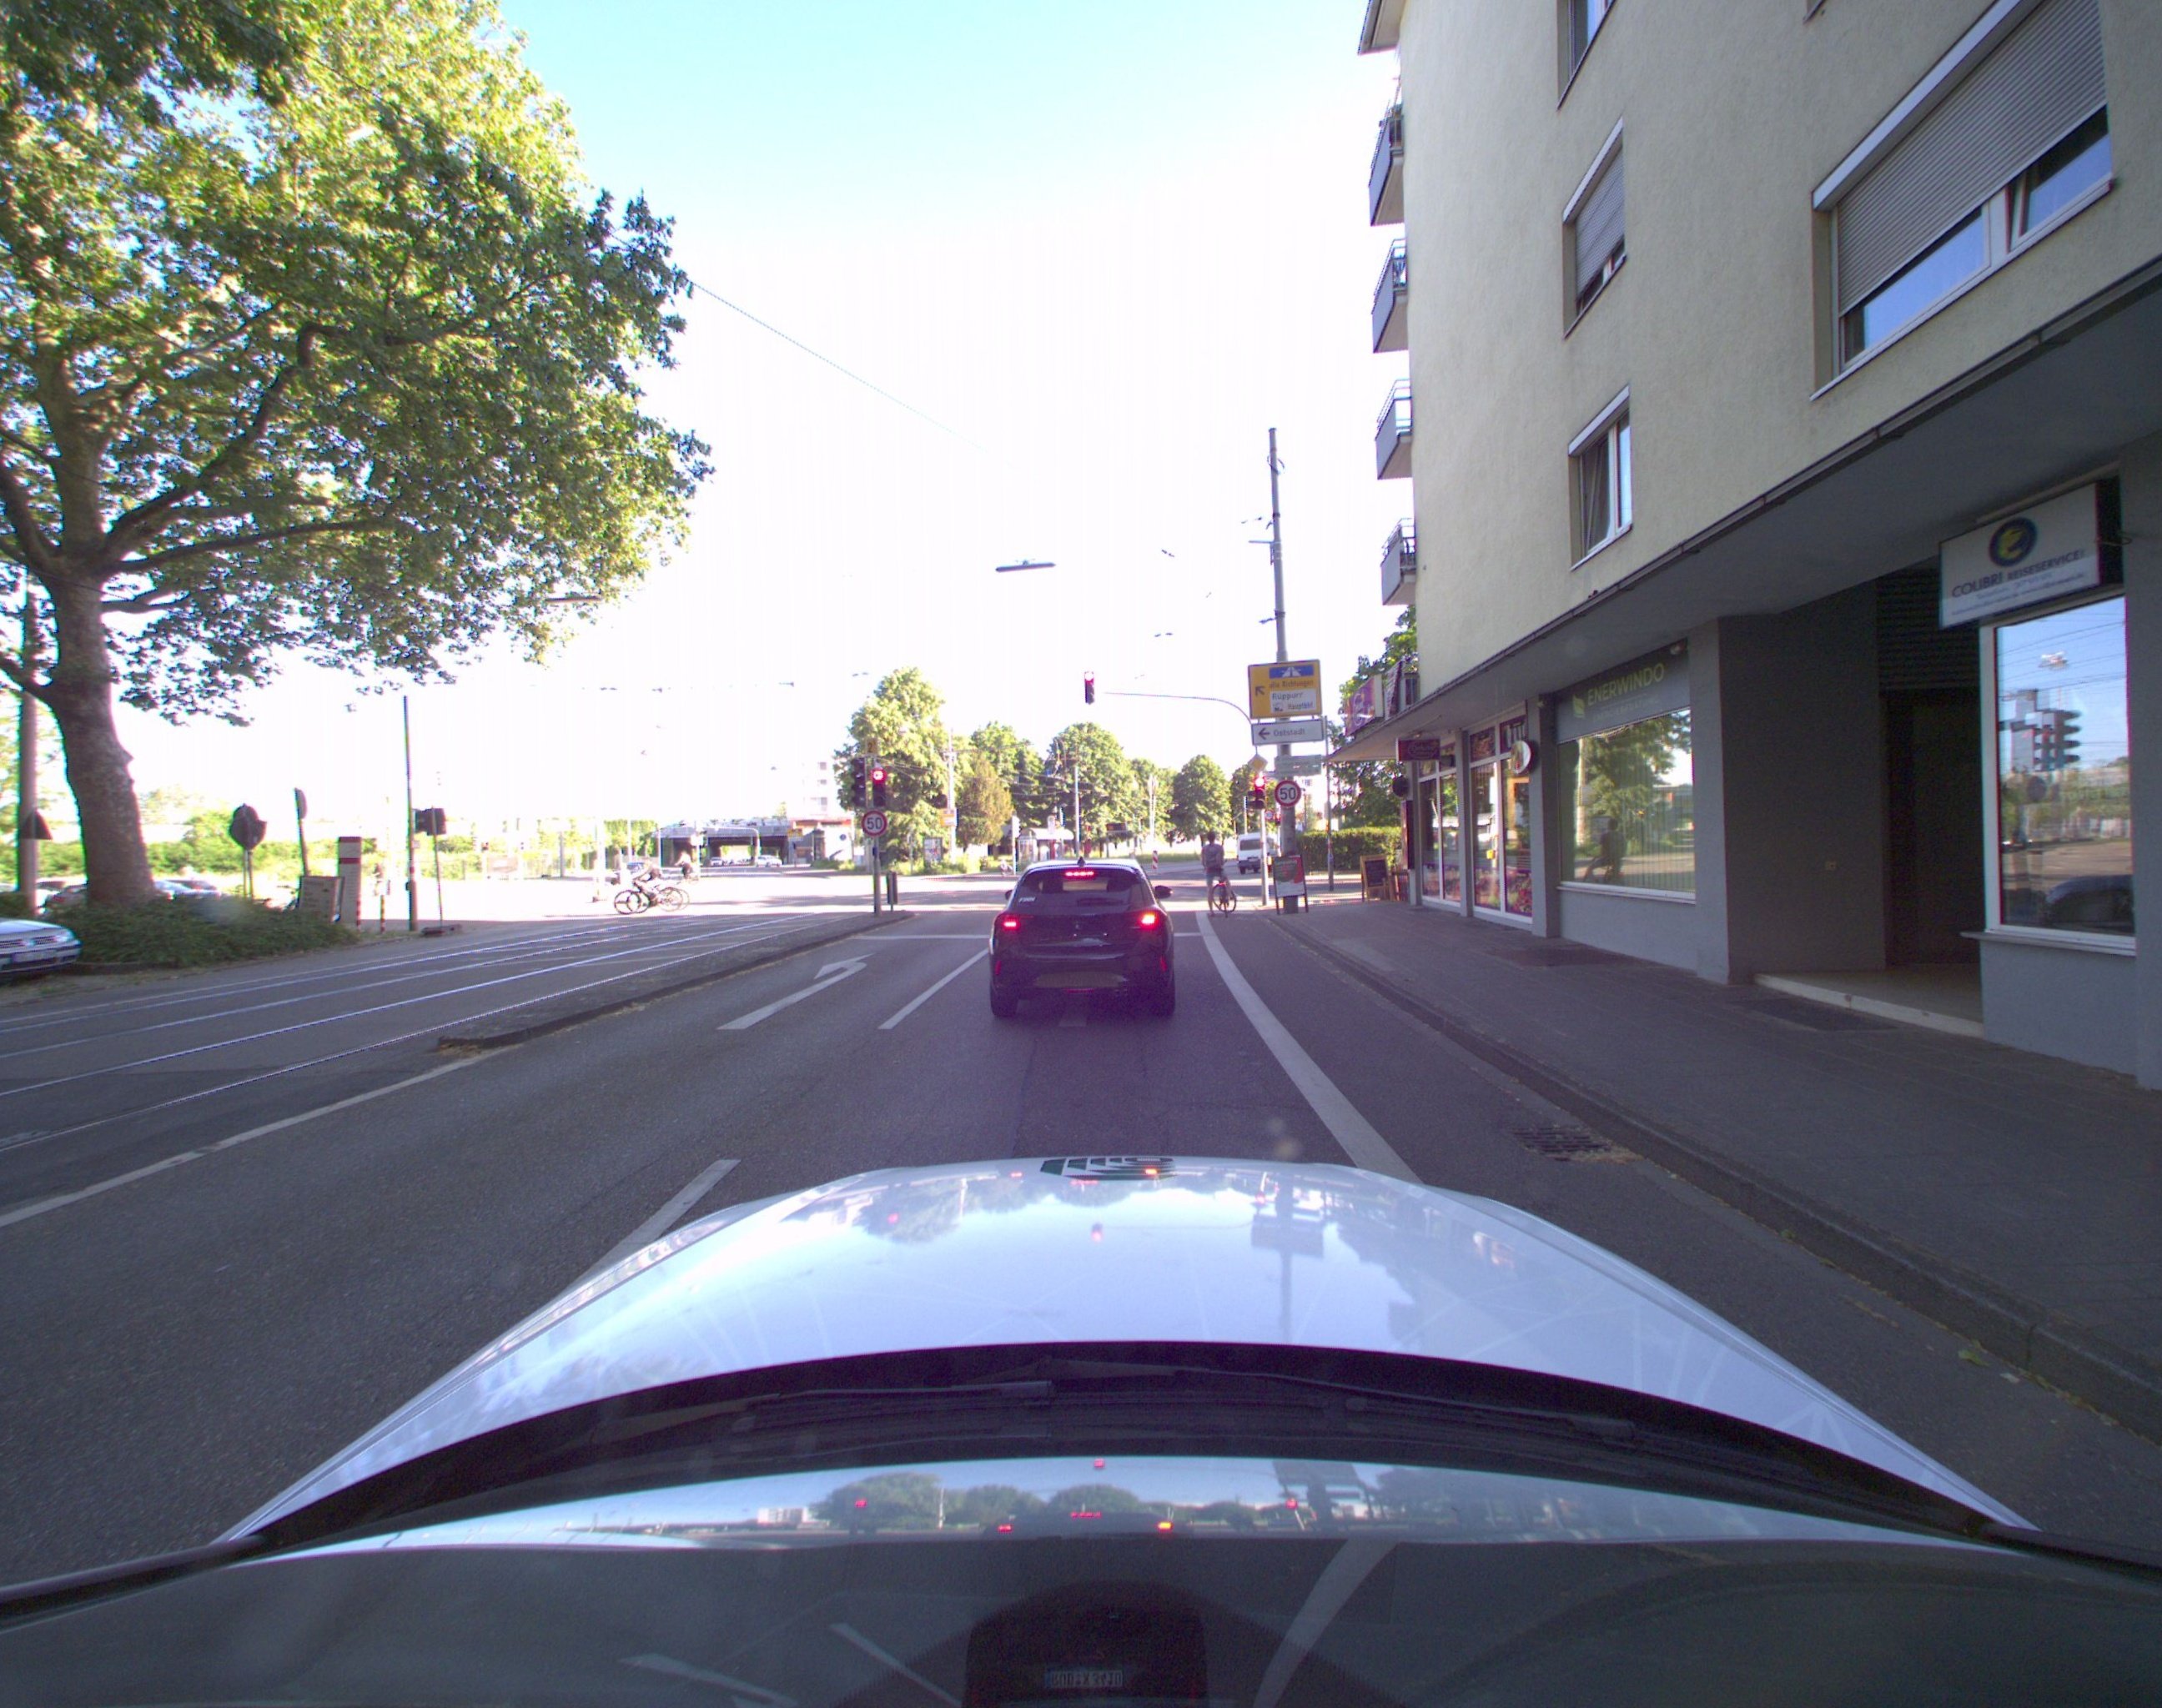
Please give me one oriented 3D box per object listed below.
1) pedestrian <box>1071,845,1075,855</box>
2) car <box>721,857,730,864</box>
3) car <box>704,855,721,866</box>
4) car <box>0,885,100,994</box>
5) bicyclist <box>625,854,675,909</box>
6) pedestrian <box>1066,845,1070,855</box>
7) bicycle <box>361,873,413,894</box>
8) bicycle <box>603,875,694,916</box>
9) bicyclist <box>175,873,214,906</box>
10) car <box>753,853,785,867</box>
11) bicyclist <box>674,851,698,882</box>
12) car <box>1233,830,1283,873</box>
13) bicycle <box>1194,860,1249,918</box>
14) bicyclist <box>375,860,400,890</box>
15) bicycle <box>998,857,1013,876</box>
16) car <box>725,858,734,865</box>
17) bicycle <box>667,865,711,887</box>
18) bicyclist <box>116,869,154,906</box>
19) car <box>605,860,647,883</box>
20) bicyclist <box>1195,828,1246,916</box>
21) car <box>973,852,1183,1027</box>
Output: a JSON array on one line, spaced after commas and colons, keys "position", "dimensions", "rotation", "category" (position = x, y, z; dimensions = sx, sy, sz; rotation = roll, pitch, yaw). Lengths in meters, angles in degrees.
[{"position": [-1.074, -0.525, 108.561], "dimensions": [0.411, 1.412, 0.436], "rotation": [0, -1, 1], "category": "pedestrian"}, {"position": [-99.397, 1.827, 227.602], "dimensions": [2.004, 1.947, 4.461], "rotation": [-2, 0, -26], "category": "car"}, {"position": [-61.161, 1.103, 135.296], "dimensions": [2.221, 1.823, 4.118], "rotation": [-2, 0, -21], "category": "car"}, {"position": [-16.960, 1.199, 11.368], "dimensions": [4.497, 1.429, 1.676], "rotation": [0, 0, 0], "category": "car"}, {"position": [-12.435, 0.777, 23.517], "dimensions": [1.117, 1.520, 0.915], "rotation": [-2, 0, -21], "category": "bicyclist"}, {"position": [-1.739, -0.526, 108.801], "dimensions": [0.411, 1.412, 0.436], "rotation": [0, -1, -1], "category": "pedestrian"}, {"position": [-37.574, 1.579, 44.130], "dimensions": [0.575, 1.060, 2.055], "rotation": [-2, 0, 33], "category": "bicycle"}, {"position": [-12.445, 1.190, 23.525], "dimensions": [2.199, 1.033, 0.828], "rotation": [-2, 0, -21], "category": "bicycle"}, {"position": [-43.835, 1.743, 40.285], "dimensions": [1.006, 1.570, 0.799], "rotation": [-2, 0, 2], "category": "bicyclist"}, {"position": [-41.393, 0.775, 107.946], "dimensions": [4.134, 1.805, 1.748], "rotation": [-2, 0, 33], "category": "car"}, {"position": [-20.987, 0.656, 43.261], "dimensions": [0.857, 1.595, 0.650], "rotation": [-2, 0, 4], "category": "bicyclist"}, {"position": [10.144, -0.153, 46.389], "dimensions": [2.046, 2.248, 4.912], "rotation": [-2, 0, 20], "category": "car"}, {"position": [3.064, 0.732, 18.017], "dimensions": [0.857, 1.153, 2.172], "rotation": [-2, 0, 1], "category": "bicycle"}, {"position": [-37.568, 1.121, 44.101], "dimensions": [0.629, 1.563, 0.838], "rotation": [-2, 0, 32], "category": "bicyclist"}, {"position": [-4.307, 0.725, 46.744], "dimensions": [0.603, 1.031, 1.983], "rotation": [-2, 0, 2], "category": "bicycle"}, {"position": [-89.096, 1.837, 206.602], "dimensions": [2.003, 1.602, 4.213], "rotation": [-2, 0, -24], "category": "car"}, {"position": [-20.838, 1.147, 43.258], "dimensions": [2.045, 1.094, 0.593], "rotation": [-2, 0, 4], "category": "bicycle"}, {"position": [-46.320, 1.625, 39.903], "dimensions": [0.932, 1.707, 0.867], "rotation": [-2, 0, -30], "category": "bicyclist"}, {"position": [-31.288, 1.154, 56.107], "dimensions": [1.830, 1.519, 3.870], "rotation": [0, 0, -18], "category": "car"}, {"position": [3.054, 0.385, 17.943], "dimensions": [0.938, 1.851, 0.864], "rotation": [-2, 0, 1], "category": "bicyclist"}, {"position": [0.048, 0.701, 8.847], "dimensions": [1.720, 1.429, 4.189], "rotation": [-1, 0, 2], "category": "car"}]
